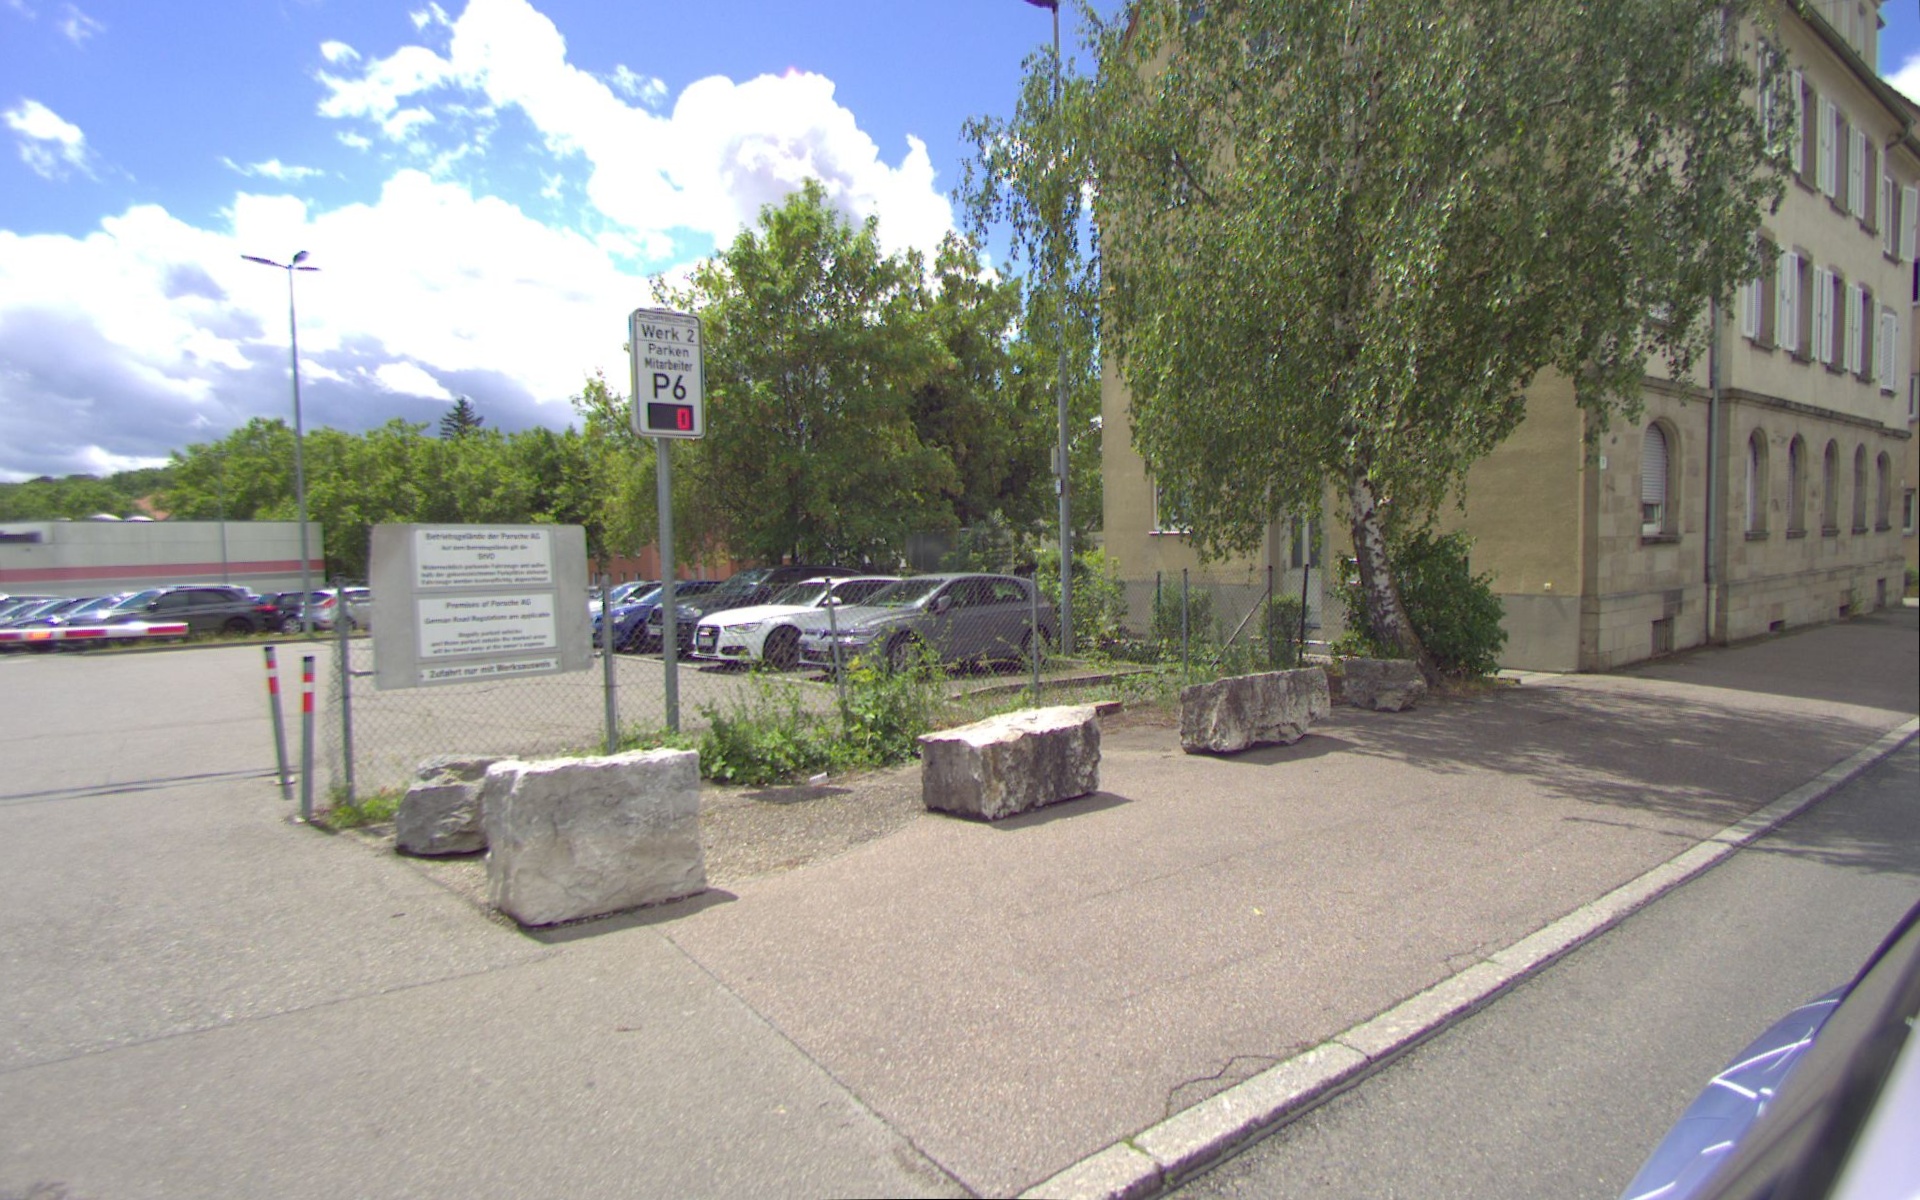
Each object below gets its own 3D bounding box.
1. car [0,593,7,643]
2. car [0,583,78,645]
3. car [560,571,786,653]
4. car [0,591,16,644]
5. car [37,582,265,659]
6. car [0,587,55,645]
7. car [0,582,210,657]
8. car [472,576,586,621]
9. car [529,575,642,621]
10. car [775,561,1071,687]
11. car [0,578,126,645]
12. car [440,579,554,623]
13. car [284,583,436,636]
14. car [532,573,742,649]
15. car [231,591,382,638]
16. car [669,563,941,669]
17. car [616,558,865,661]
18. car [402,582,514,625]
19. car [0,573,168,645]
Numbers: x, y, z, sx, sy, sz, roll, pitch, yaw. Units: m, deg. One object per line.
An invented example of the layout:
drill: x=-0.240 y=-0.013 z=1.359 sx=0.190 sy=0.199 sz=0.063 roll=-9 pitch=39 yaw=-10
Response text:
car: x=-36.751 y=0.830 z=35.474 sx=1.979 sy=1.807 sz=4.407 roll=-3 pitch=2 yaw=26
car: x=-30.260 y=0.526 z=31.019 sx=1.979 sy=1.807 sz=4.407 roll=-3 pitch=2 yaw=26
car: x=-5.965 y=0.167 z=21.367 sx=1.870 sy=1.467 sz=4.214 roll=1 pitch=3 yaw=44
car: x=-34.604 y=0.768 z=33.534 sx=1.979 sy=1.807 sz=4.407 roll=-3 pitch=2 yaw=26
car: x=-21.240 y=0.463 z=26.793 sx=1.850 sy=1.690 sz=4.320 roll=-1 pitch=3 yaw=23
car: x=-32.253 y=0.630 z=32.407 sx=1.979 sy=1.807 sz=4.407 roll=-3 pitch=2 yaw=26
car: x=-23.478 y=0.463 z=27.713 sx=1.857 sy=1.690 sz=4.305 roll=0 pitch=3 yaw=31
car: x=-18.479 y=-0.096 z=43.559 sx=1.854 sy=1.690 sz=4.311 roll=-1 pitch=3 yaw=27
car: x=-15.616 y=-0.117 z=42.436 sx=1.854 sy=1.690 sz=4.311 roll=-1 pitch=3 yaw=27
car: x=-0.443 y=0.271 z=14.777 sx=4.073 sy=1.407 sz=1.718 roll=-5 pitch=2 yaw=-40
car: x=-27.921 y=0.385 z=30.043 sx=1.979 sy=1.807 sz=4.407 roll=-3 pitch=2 yaw=26
car: x=-20.357 y=0.008 z=44.660 sx=1.854 sy=1.690 sz=4.311 roll=-1 pitch=3 yaw=27
car: x=-18.783 y=0.271 z=31.853 sx=1.852 sy=1.404 sz=3.688 roll=-1 pitch=3 yaw=25
car: x=-7.351 y=0.178 z=23.298 sx=1.870 sy=1.467 sz=4.214 roll=1 pitch=3 yaw=44
car: x=-21.198 y=0.436 z=32.960 sx=1.852 sy=1.279 sz=3.688 roll=-1 pitch=3 yaw=25
car: x=-2.479 y=0.174 z=16.918 sx=1.870 sy=1.469 sz=4.214 roll=1 pitch=3 yaw=44
car: x=-4.011 y=0.082 z=18.959 sx=1.870 sy=1.643 sz=4.214 roll=1 pitch=3 yaw=44
car: x=-22.977 y=0.109 z=46.482 sx=1.854 sy=1.690 sz=4.311 roll=-1 pitch=3 yaw=27
car: x=-25.900 y=0.266 z=29.123 sx=1.979 sy=1.807 sz=4.407 roll=-3 pitch=2 yaw=26
